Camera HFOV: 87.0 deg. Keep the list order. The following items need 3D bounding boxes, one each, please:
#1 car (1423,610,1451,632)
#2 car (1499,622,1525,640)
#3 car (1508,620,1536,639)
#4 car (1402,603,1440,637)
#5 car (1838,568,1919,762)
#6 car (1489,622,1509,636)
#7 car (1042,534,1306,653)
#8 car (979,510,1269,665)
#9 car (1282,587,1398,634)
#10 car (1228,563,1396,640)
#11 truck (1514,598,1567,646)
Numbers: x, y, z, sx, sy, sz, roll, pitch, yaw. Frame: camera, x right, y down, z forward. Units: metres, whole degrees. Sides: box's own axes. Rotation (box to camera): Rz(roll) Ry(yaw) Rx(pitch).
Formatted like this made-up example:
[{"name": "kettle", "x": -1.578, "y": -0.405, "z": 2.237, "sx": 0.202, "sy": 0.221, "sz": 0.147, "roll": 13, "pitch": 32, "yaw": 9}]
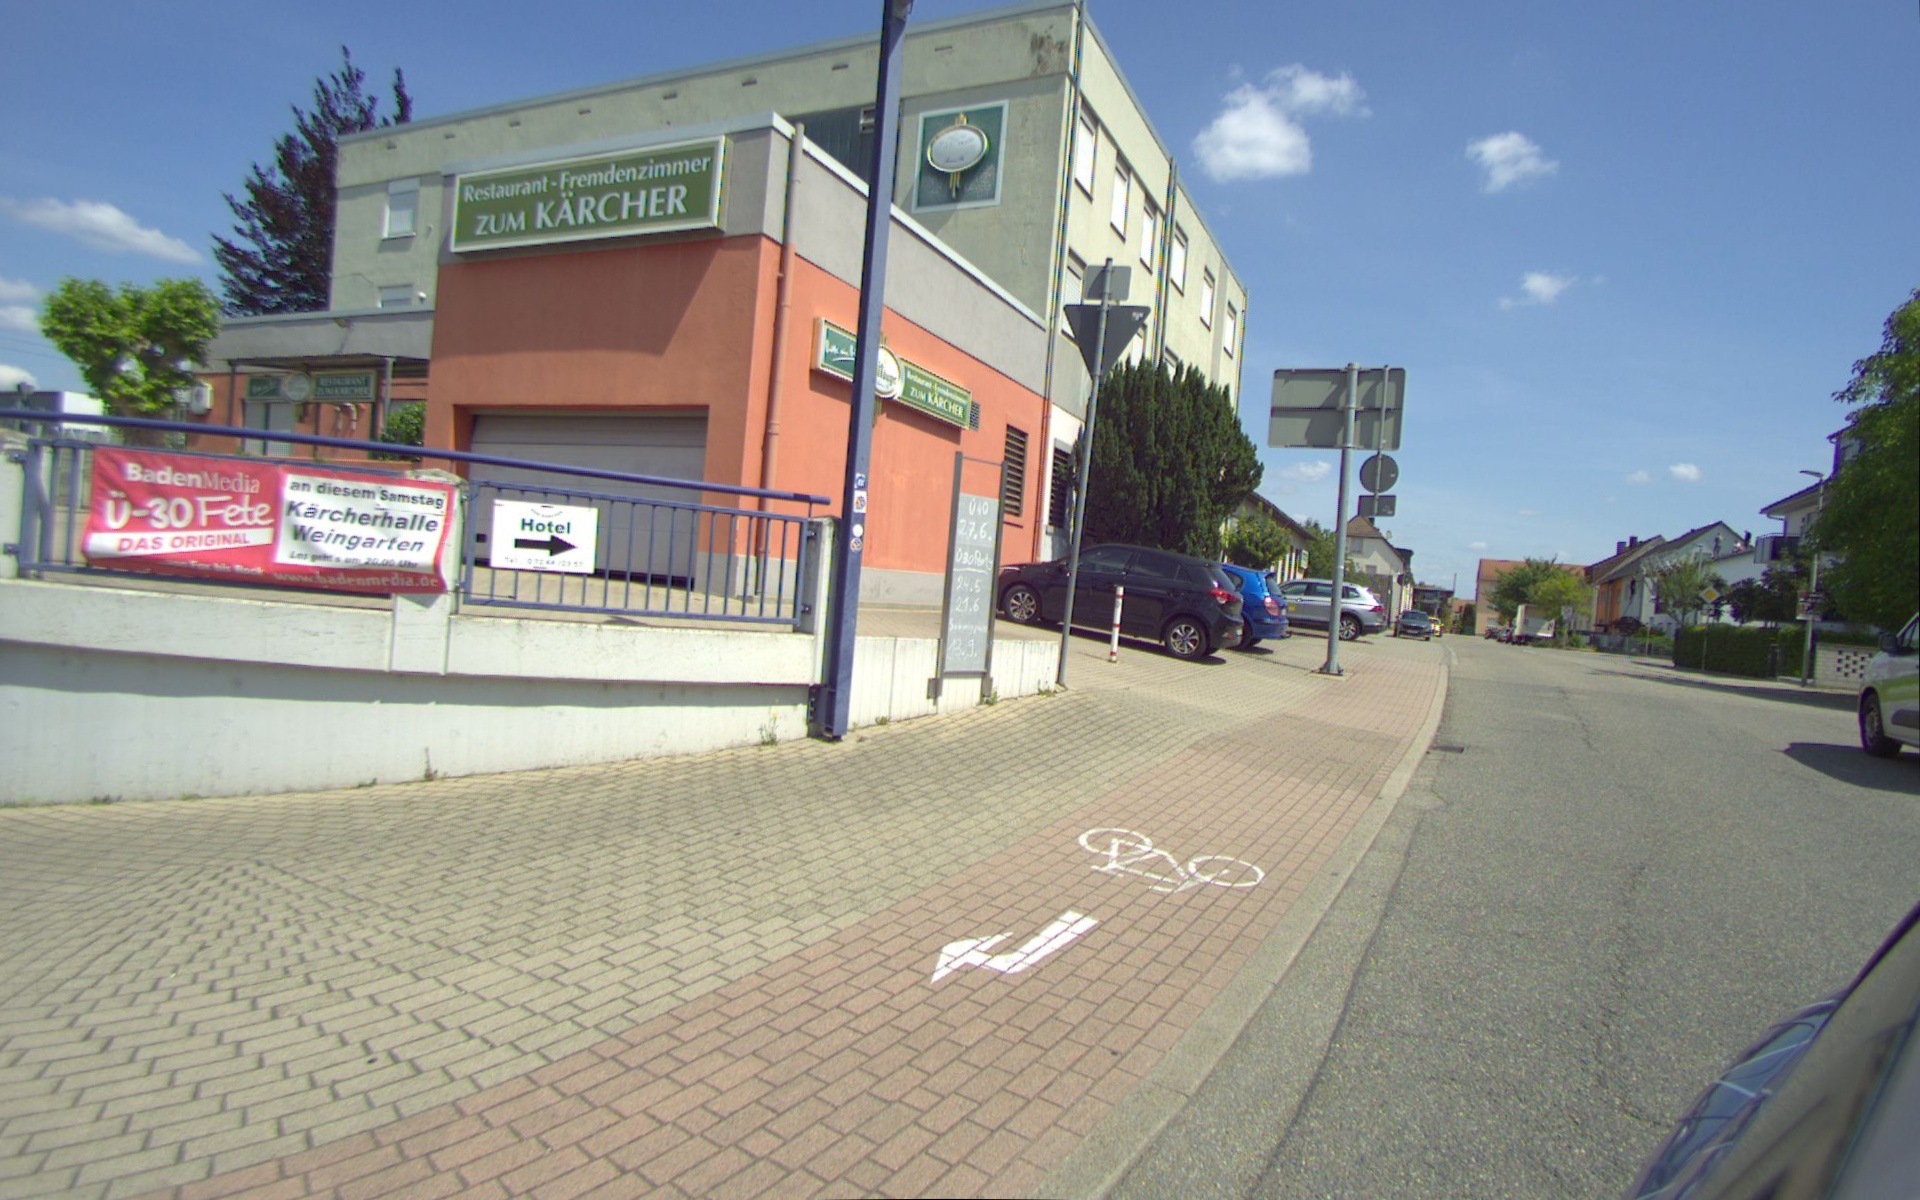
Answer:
[{"name": "car", "x": 37.113, "y": 1.666, "z": 78.744, "sx": 1.707, "sy": 1.414, "sz": 4.176, "roll": 10, "pitch": 3, "yaw": 26}, {"name": "car", "x": 53.482, "y": 2.993, "z": 98.108, "sx": 1.705, "sy": 1.518, "sz": 4.178, "roll": 8, "pitch": 2, "yaw": 25}, {"name": "car", "x": 51.296, "y": 2.684, "z": 92.431, "sx": 1.705, "sy": 1.518, "sz": 4.178, "roll": 8, "pitch": 2, "yaw": 25}, {"name": "car", "x": 23.839, "y": 1.038, "z": 52.426, "sx": 1.616, "sy": 1.507, "sz": 4.104, "roll": 6, "pitch": 1, "yaw": 24}, {"name": "car", "x": 10.062, "y": 0.690, "z": 9.316, "sx": 1.801, "sy": 1.877, "sz": 4.516, "roll": 5, "pitch": 1, "yaw": 27}, {"name": "car", "x": 66.797, "y": 3.573, "z": 125.455, "sx": 1.705, "sy": 1.518, "sz": 4.178, "roll": 8, "pitch": 2, "yaw": 25}, {"name": "car", "x": 3.861, "y": -0.187, "z": 18.370, "sx": 4.297, "sy": 1.456, "sz": 1.764, "roll": 9, "pitch": 5, "yaw": 26}, {"name": "car", "x": 2.496, "y": -0.246, "z": 15.433, "sx": 3.874, "sy": 1.506, "sz": 1.795, "roll": 13, "pitch": 5, "yaw": 24}, {"name": "car", "x": 16.529, "y": 0.449, "z": 44.046, "sx": 4.501, "sy": 1.471, "sz": 1.900, "roll": 7, "pitch": 2, "yaw": 27}, {"name": "car", "x": 10.404, "y": 0.024, "z": 29.933, "sx": 4.424, "sy": 1.717, "sz": 1.906, "roll": 7, "pitch": 2, "yaw": 25}, {"name": "truck", "x": 45.625, "y": 1.711, "z": 79.706, "sx": 2.421, "sy": 3.284, "sz": 6.979, "roll": 9, "pitch": 2, "yaw": 23}]
